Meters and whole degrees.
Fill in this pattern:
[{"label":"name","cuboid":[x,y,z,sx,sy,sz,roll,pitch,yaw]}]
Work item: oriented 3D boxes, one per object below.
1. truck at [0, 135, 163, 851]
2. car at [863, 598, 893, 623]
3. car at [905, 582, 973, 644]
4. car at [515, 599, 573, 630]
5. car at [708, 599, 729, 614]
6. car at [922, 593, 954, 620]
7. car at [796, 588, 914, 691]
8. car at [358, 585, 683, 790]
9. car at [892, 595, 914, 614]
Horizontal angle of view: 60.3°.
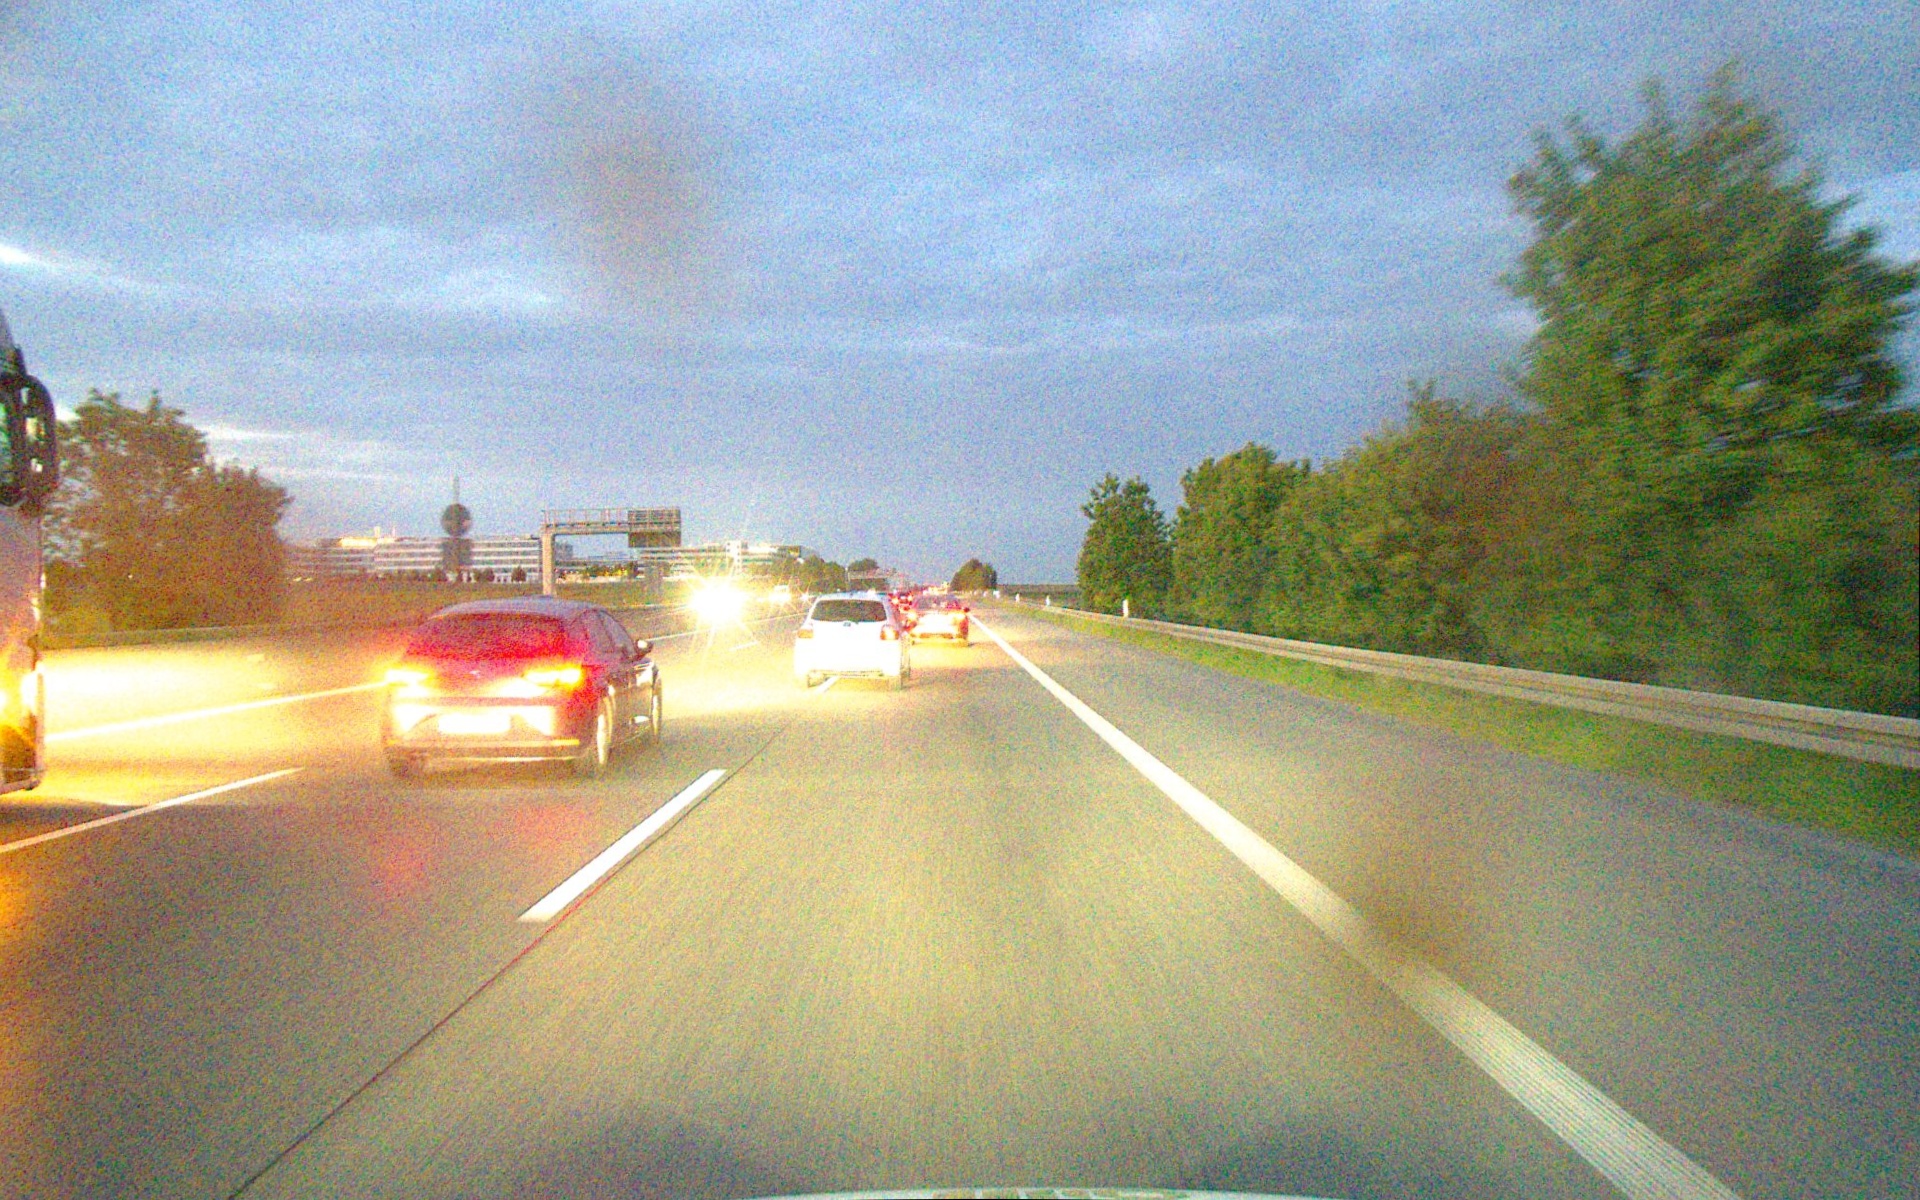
[{"label":"truck","cuboid":[-6.937,-0.625,8.502,2.721,4.164,6.102,0,0,0]},{"label":"car","cuboid":[-5.385,0.683,109.049,1.842,1.579,3.999,1,0,-2]},{"label":"car","cuboid":[-0.617,0.375,47.740,1.842,1.672,3.999,1,0,-1]},{"label":"car","cuboid":[-19.583,0.679,77.973,1.708,1.386,4.110,1,0,-1]},{"label":"car","cuboid":[-20.667,0.555,141.395,1.336,1.283,3.506,1,0,-1]},{"label":"car","cuboid":[-1.369,0.411,100.674,1.842,1.579,3.999,1,0,-2]},{"label":"car","cuboid":[-1.684,0.624,27.778,1.708,1.551,4.413,1,0,0]},{"label":"car","cuboid":[-3.672,0.670,14.699,1.688,1.497,4.725,1,0,-1]},{"label":"car","cuboid":[-5.857,0.469,169.940,2.154,1.912,3.999,1,0,-1]}]
